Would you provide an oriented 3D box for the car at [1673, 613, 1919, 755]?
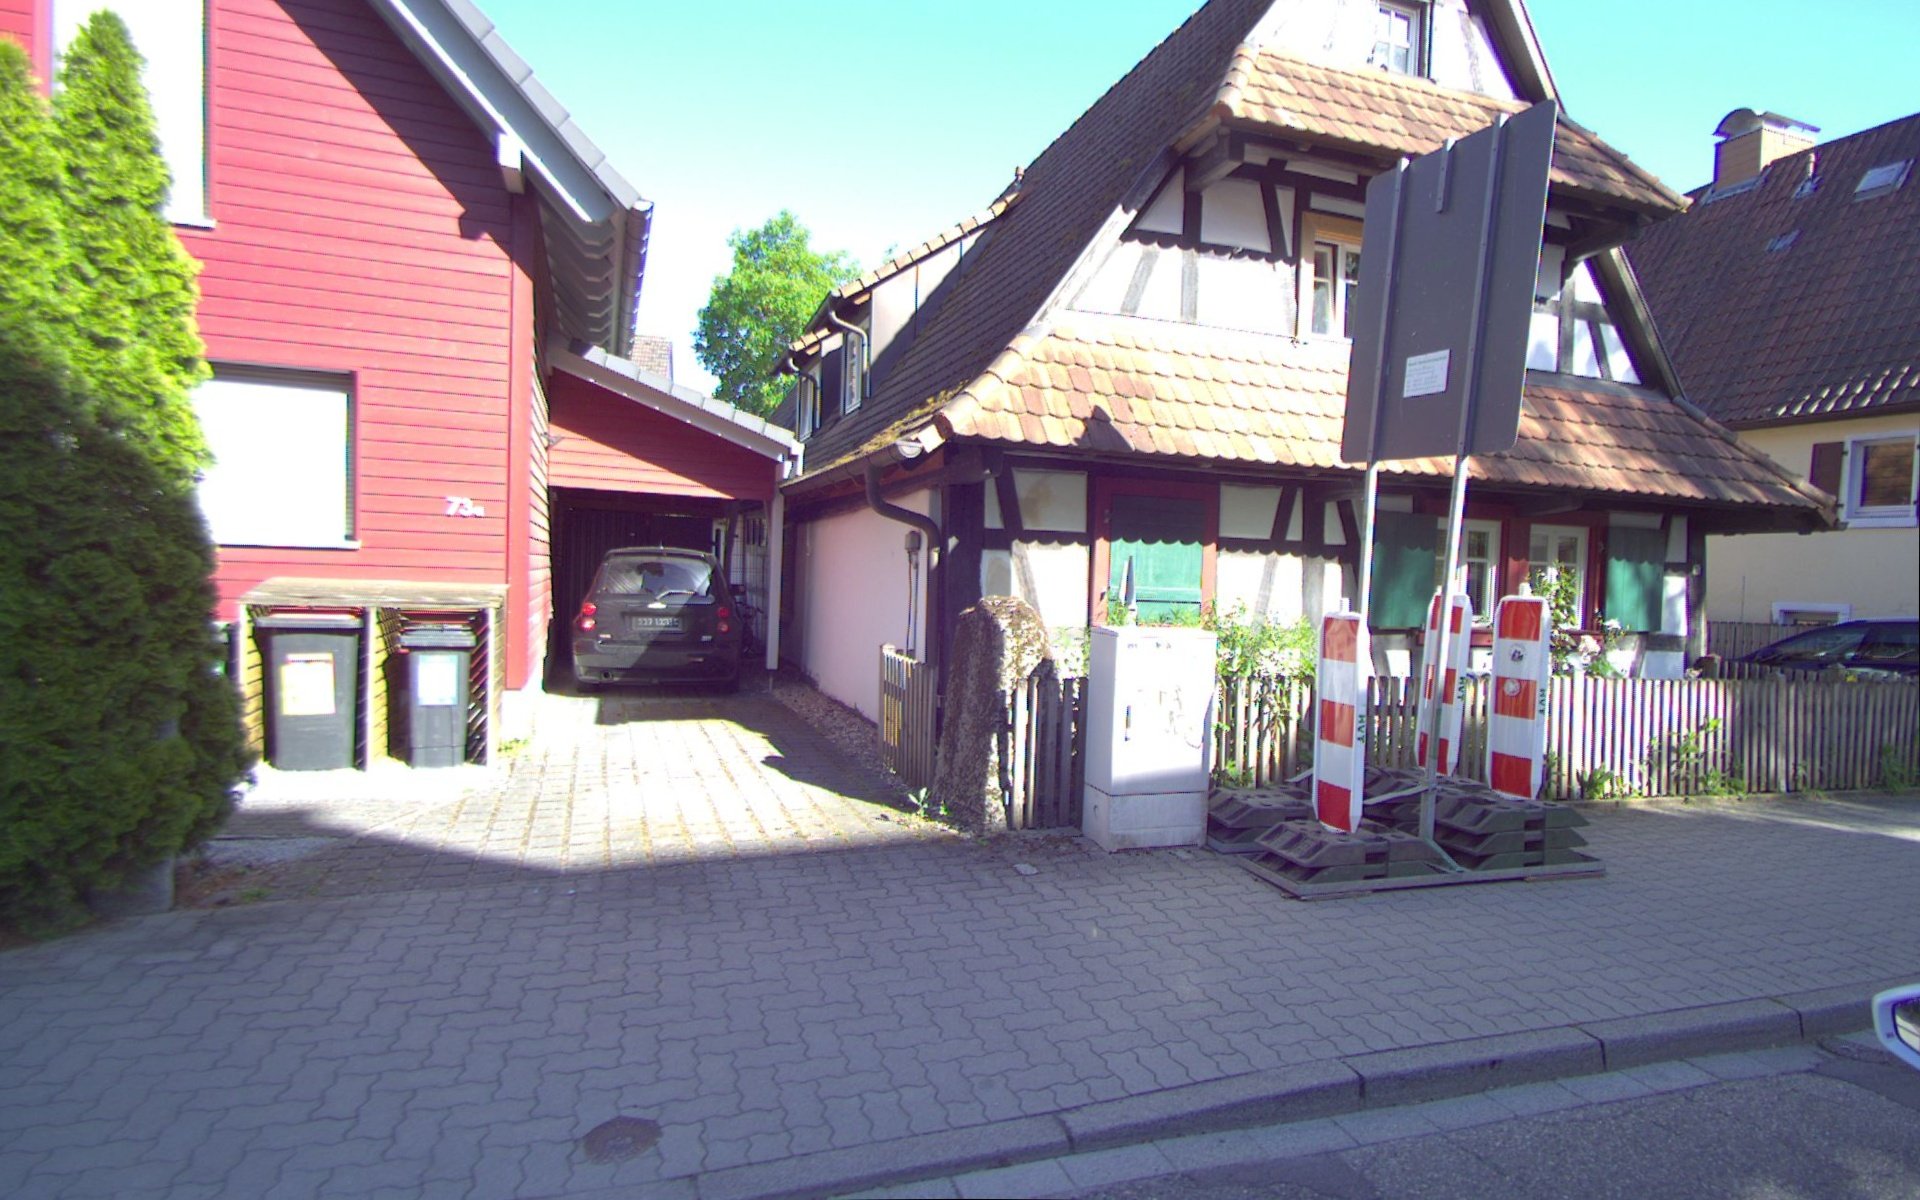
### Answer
[{"bbox_3d":[10.840,0.920,11.416,1.822,1.481,4.150,1,-1,-22],"label":"car"}]

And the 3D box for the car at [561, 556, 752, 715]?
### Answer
[{"bbox_3d":[-3.413,0.281,11.785,1.786,1.522,3.988,1,2,-14],"label":"car"}]

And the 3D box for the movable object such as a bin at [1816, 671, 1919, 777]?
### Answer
[{"bbox_3d":[8.488,1.139,9.349,0.544,0.909,0.586,1,-1,2],"label":"movable object such as a bin"}]
